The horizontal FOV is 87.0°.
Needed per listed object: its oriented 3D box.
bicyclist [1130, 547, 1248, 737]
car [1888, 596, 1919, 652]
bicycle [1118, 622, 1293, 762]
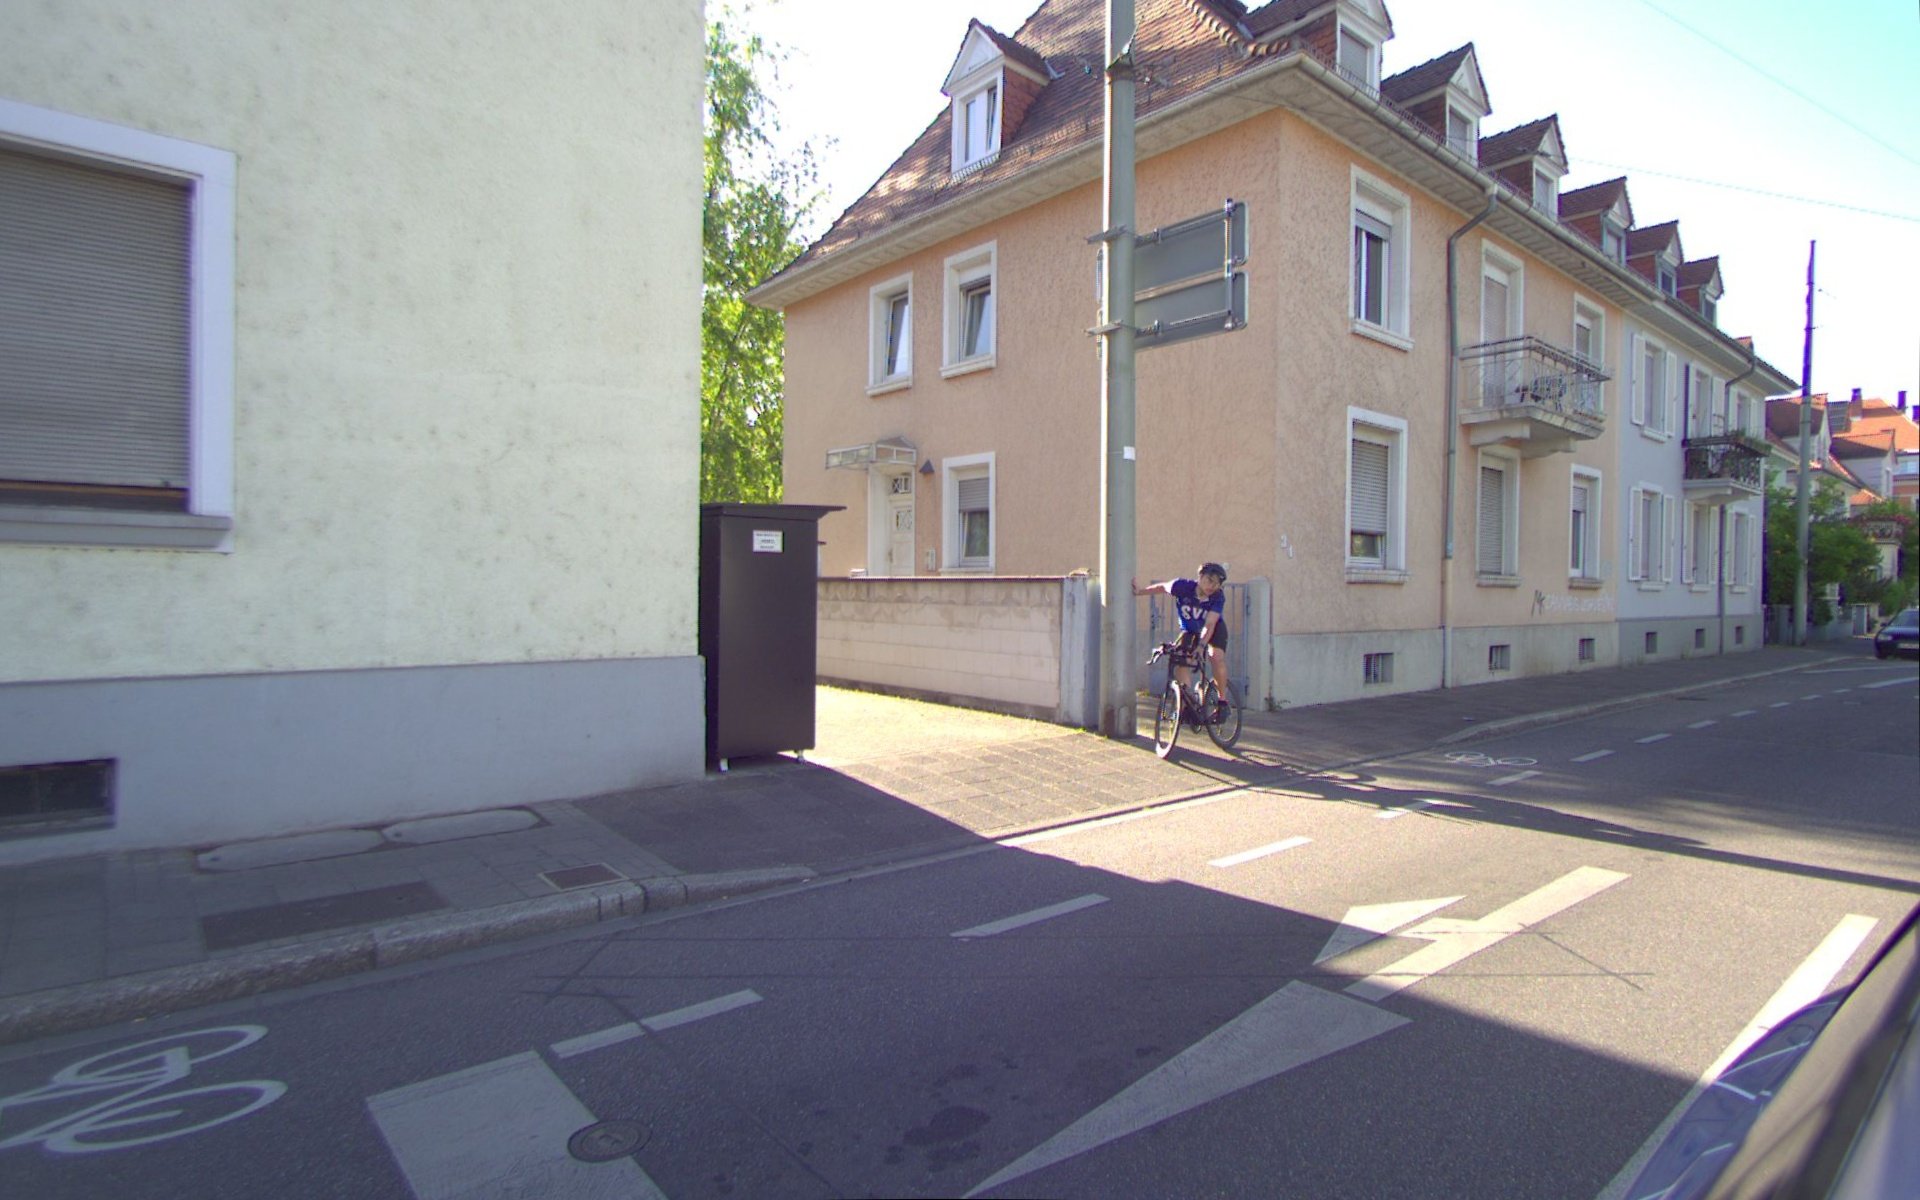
[{"bbox_3d":[2.107,0.356,9.284,0.998,1.637,0.562,0,1,-40],"label":"bicyclist"},{"bbox_3d":[26.717,0.625,27.401,4.347,1.425,1.866,0,1,-41],"label":"car"},{"bbox_3d":[2.274,0.788,9.251,1.763,1.074,0.551,0,6,-41],"label":"bicycle"}]
